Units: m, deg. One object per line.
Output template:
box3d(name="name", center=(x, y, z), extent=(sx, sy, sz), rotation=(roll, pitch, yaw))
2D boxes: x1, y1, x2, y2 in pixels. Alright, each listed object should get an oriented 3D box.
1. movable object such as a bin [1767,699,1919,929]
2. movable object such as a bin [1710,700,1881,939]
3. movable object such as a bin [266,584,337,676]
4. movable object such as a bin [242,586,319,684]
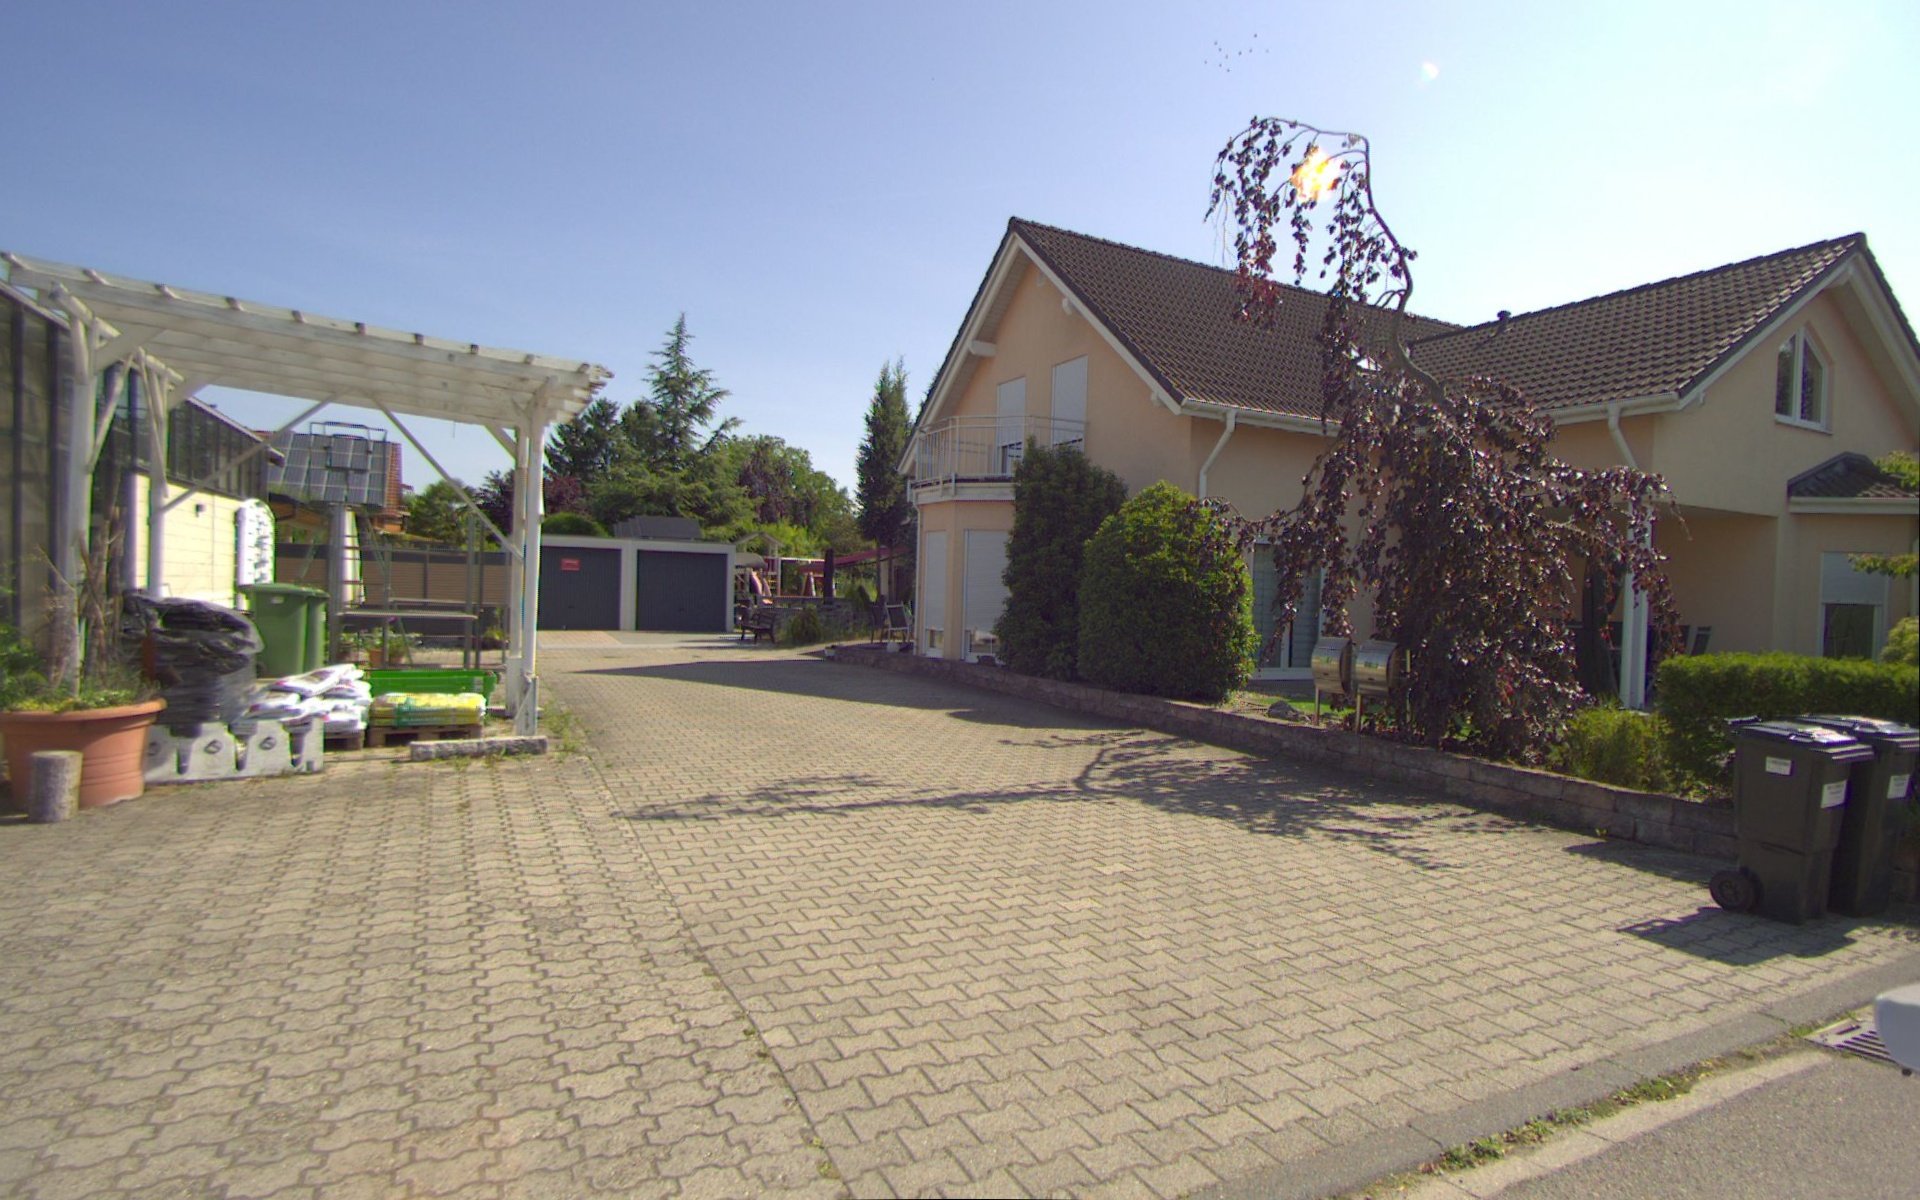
box3d(name="movable object such as a bin", center=(4.523, 1.052, 5.109), extent=(0.442, 1.038, 0.492), rotation=(1, 1, -27))
box3d(name="movable object such as a bin", center=(4.095, 1.041, 4.937), extent=(0.442, 1.038, 0.492), rotation=(1, 1, -27))
box3d(name="movable object such as a bin", center=(-8.156, 0.357, 12.454), extent=(0.708, 1.082, 0.801), rotation=(1, 1, -34))
box3d(name="movable object such as a bin", center=(-7.871, 0.390, 11.659), extent=(0.708, 1.082, 0.801), rotation=(1, 1, -34))
